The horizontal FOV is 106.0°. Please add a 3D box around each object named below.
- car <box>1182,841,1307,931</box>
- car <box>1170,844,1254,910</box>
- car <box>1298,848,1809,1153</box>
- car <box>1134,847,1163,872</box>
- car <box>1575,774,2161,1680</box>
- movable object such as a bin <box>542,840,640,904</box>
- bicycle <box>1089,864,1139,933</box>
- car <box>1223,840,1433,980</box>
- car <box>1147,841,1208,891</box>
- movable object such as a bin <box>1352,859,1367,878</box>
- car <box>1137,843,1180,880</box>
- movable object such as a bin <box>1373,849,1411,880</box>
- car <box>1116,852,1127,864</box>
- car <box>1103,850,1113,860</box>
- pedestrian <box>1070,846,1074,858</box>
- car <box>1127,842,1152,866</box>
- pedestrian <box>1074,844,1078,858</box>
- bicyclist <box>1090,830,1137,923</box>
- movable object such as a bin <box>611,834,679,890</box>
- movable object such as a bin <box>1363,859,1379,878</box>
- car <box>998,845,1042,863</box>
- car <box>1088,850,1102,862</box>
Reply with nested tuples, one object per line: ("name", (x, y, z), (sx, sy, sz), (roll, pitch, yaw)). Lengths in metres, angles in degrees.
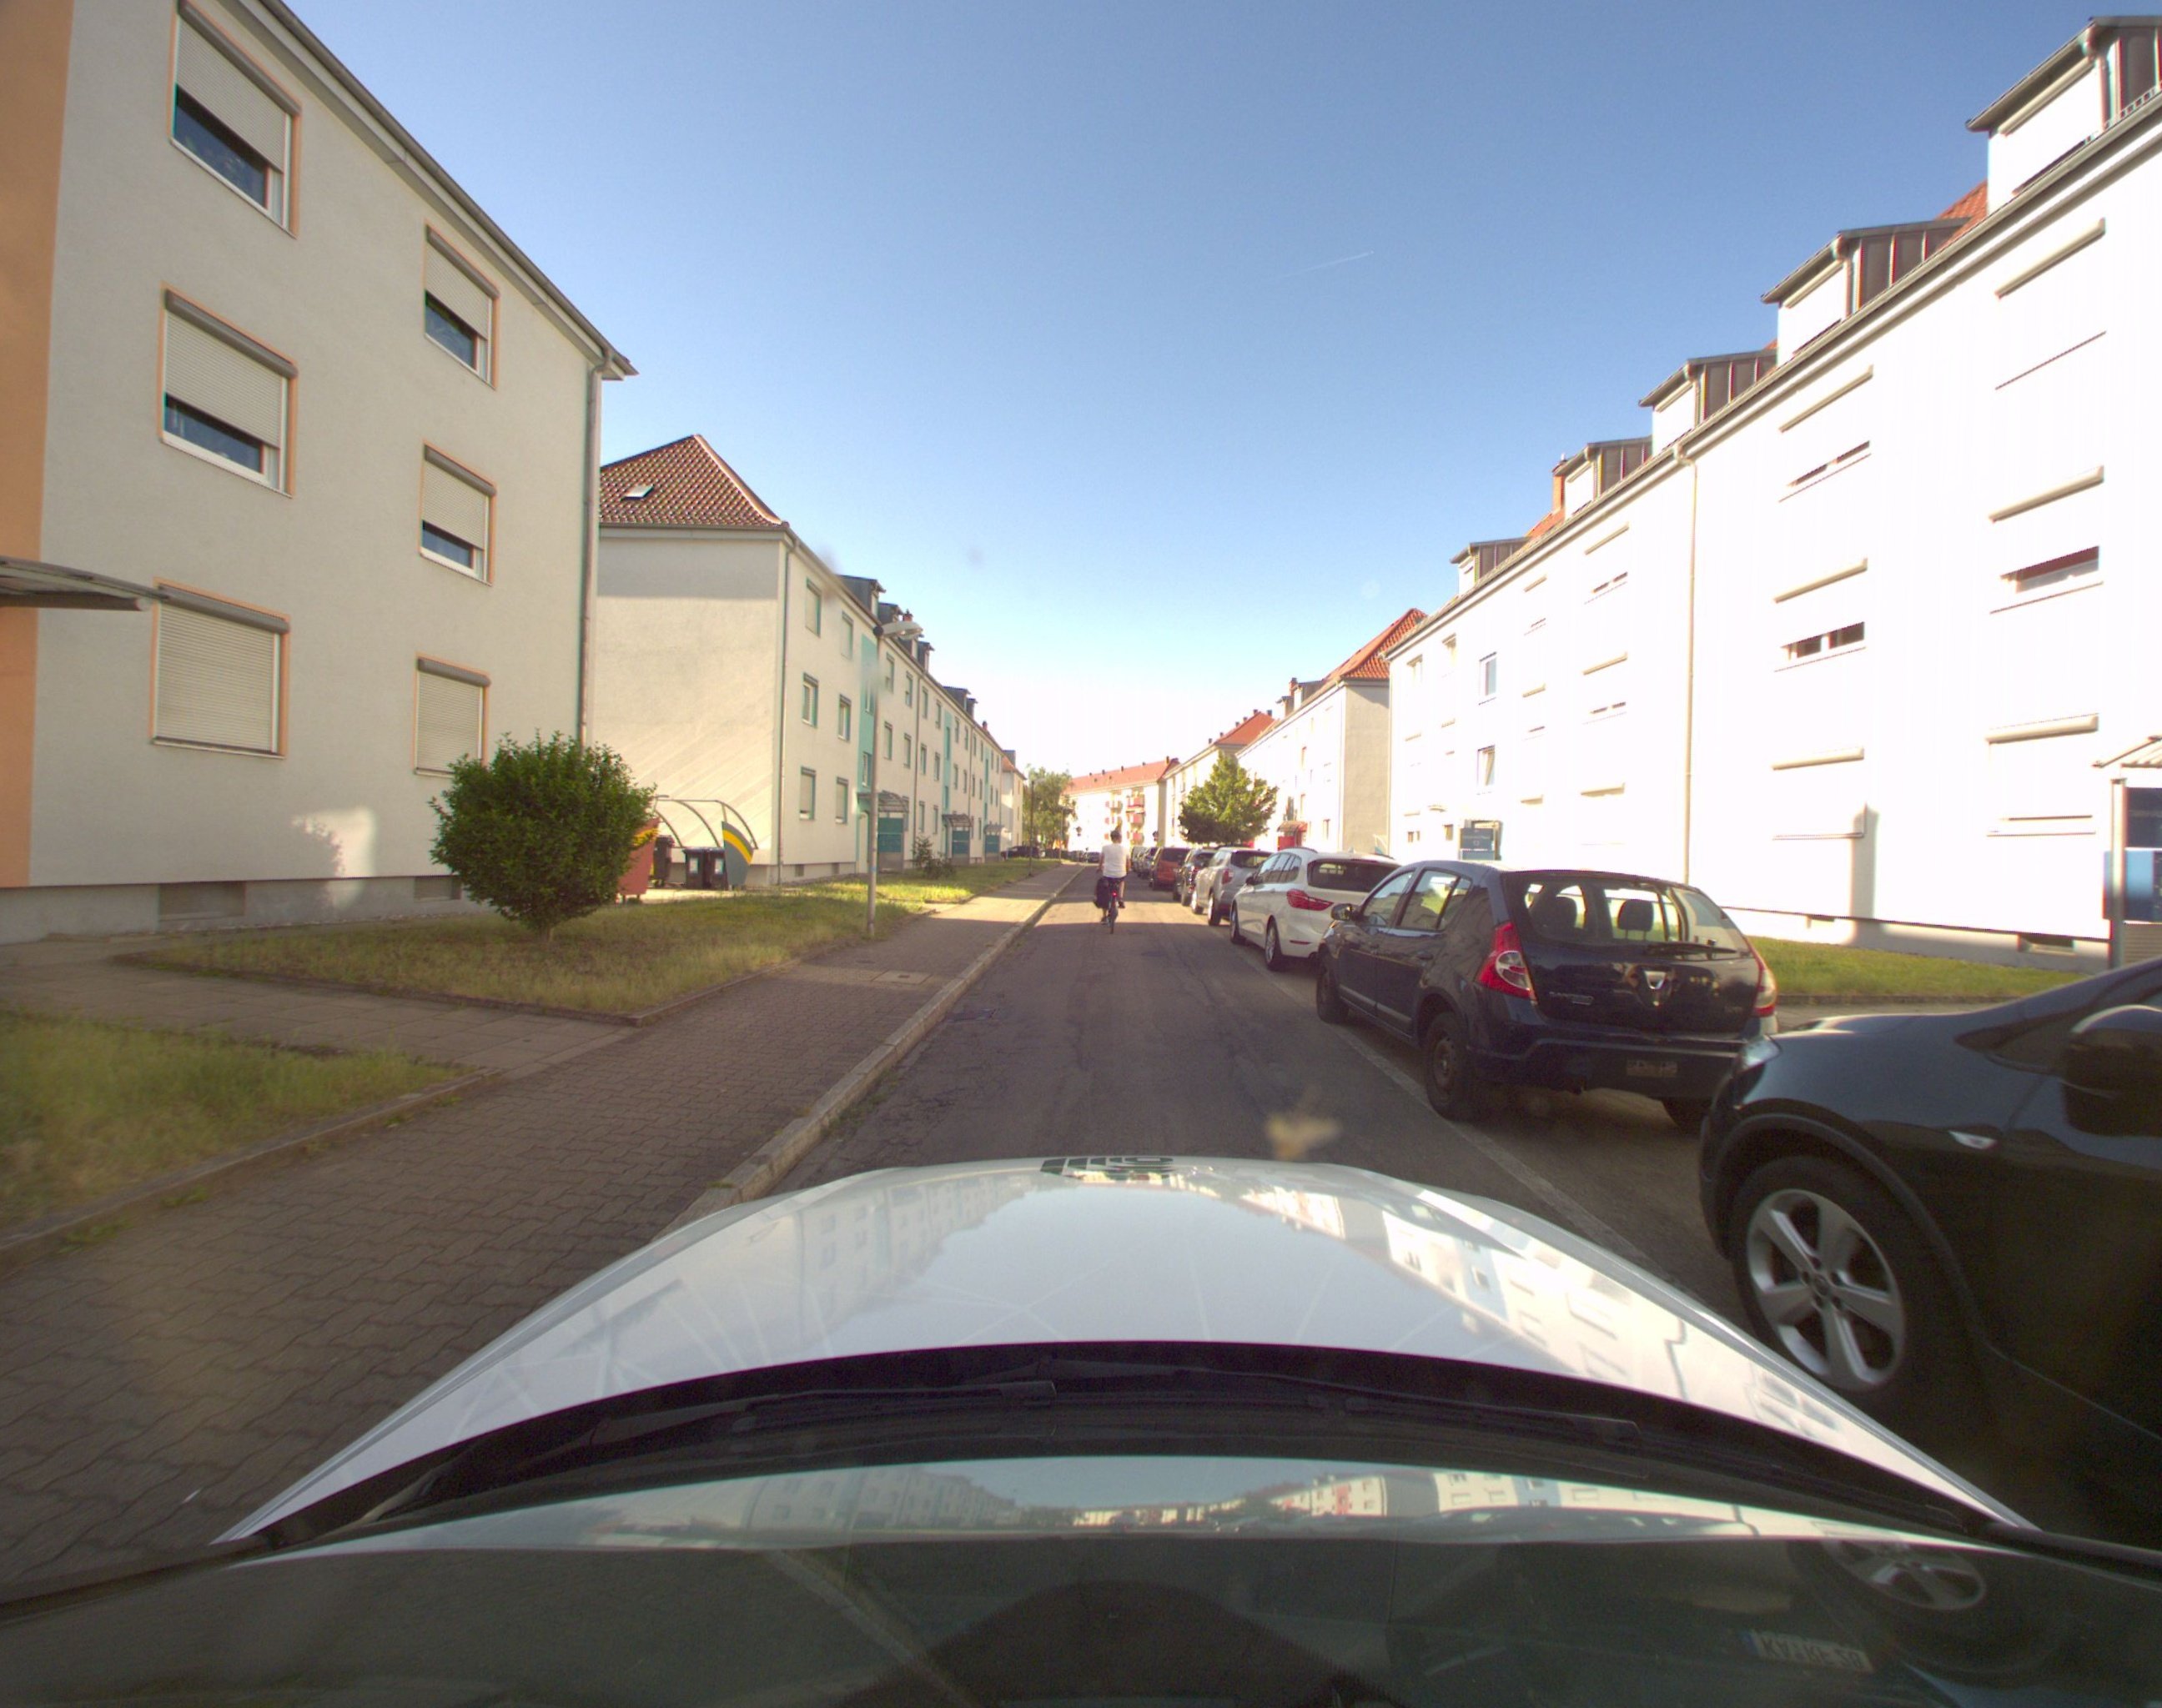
("car", (3.406, 0.579, 17.832), (1.745, 1.617, 4.451), (3, 1, 0))
("car", (3.593, 0.564, 23.075), (1.706, 1.595, 4.399), (4, 1, 1))
("car", (2.943, 0.722, 6.212), (1.635, 1.498, 4.159), (1, 1, 3))
("car", (4.149, 0.311, 50.583), (1.553, 1.411, 3.935), (2, 1, 2))
("car", (2.864, 0.716, 1.113), (1.776, 1.648, 4.472), (2, 1, 3))
("movable object such as a bin", (-9.428, 0.326, 15.709), (1.309, 1.168, 0.910), (1, 1, 1))
("bicycle", (0.578, 0.775, 14.982), (0.806, 1.128, 2.101), (0, 1, -1))
("car", (3.278, 0.627, 11.739), (1.684, 1.575, 4.435), (2, 1, 1))
("car", (3.558, 0.408, 30.741), (1.855, 1.668, 4.129), (3, 0, 2))
("movable object such as a bin", (13.206, 0.692, 38.648), (0.521, 0.886, 0.633), (1, 0, 2))
("car", (3.858, 0.330, 41.328), (1.695, 1.670, 4.379), (2, 1, 0))
("movable object such as a bin", (14.707, 0.471, 38.523), (1.355, 1.416, 1.188), (1, 0, 1))
("car", (5.646, 0.558, 114.315), (1.377, 1.497, 3.076), (2, 1, 0))
("car", (4.181, 0.133, 127.056), (1.465, 1.516, 3.076), (2, 1, 0))
("pedestrian", (-1.041, -0.251, 93.991), (0.432, 1.427, 0.543), (0, 0, 1))
("car", (4.618, -0.022, 64.835), (1.669, 1.738, 3.942), (2, 1, 0))
("pedestrian", (-0.537, -0.347, 94.049), (0.432, 1.574, 0.543), (0, 0, 1))
("bicyclist", (0.581, 0.390, 14.820), (0.806, 1.643, 0.899), (0, 0, -1))
("movable object such as a bin", (-10.963, 0.195, 20.522), (1.250, 1.356, 0.903), (1, 0, -10))
("movable object such as a bin", (13.760, 0.686, 38.622), (0.521, 0.886, 0.633), (1, 0, 2))
("car", (-5.929, 0.008, 79.337), (4.221, 1.638, 1.581), (1, 1, -3))
("car", (1.715, 0.230, 97.957), (1.466, 1.335, 3.138), (-2, 0, -3))
